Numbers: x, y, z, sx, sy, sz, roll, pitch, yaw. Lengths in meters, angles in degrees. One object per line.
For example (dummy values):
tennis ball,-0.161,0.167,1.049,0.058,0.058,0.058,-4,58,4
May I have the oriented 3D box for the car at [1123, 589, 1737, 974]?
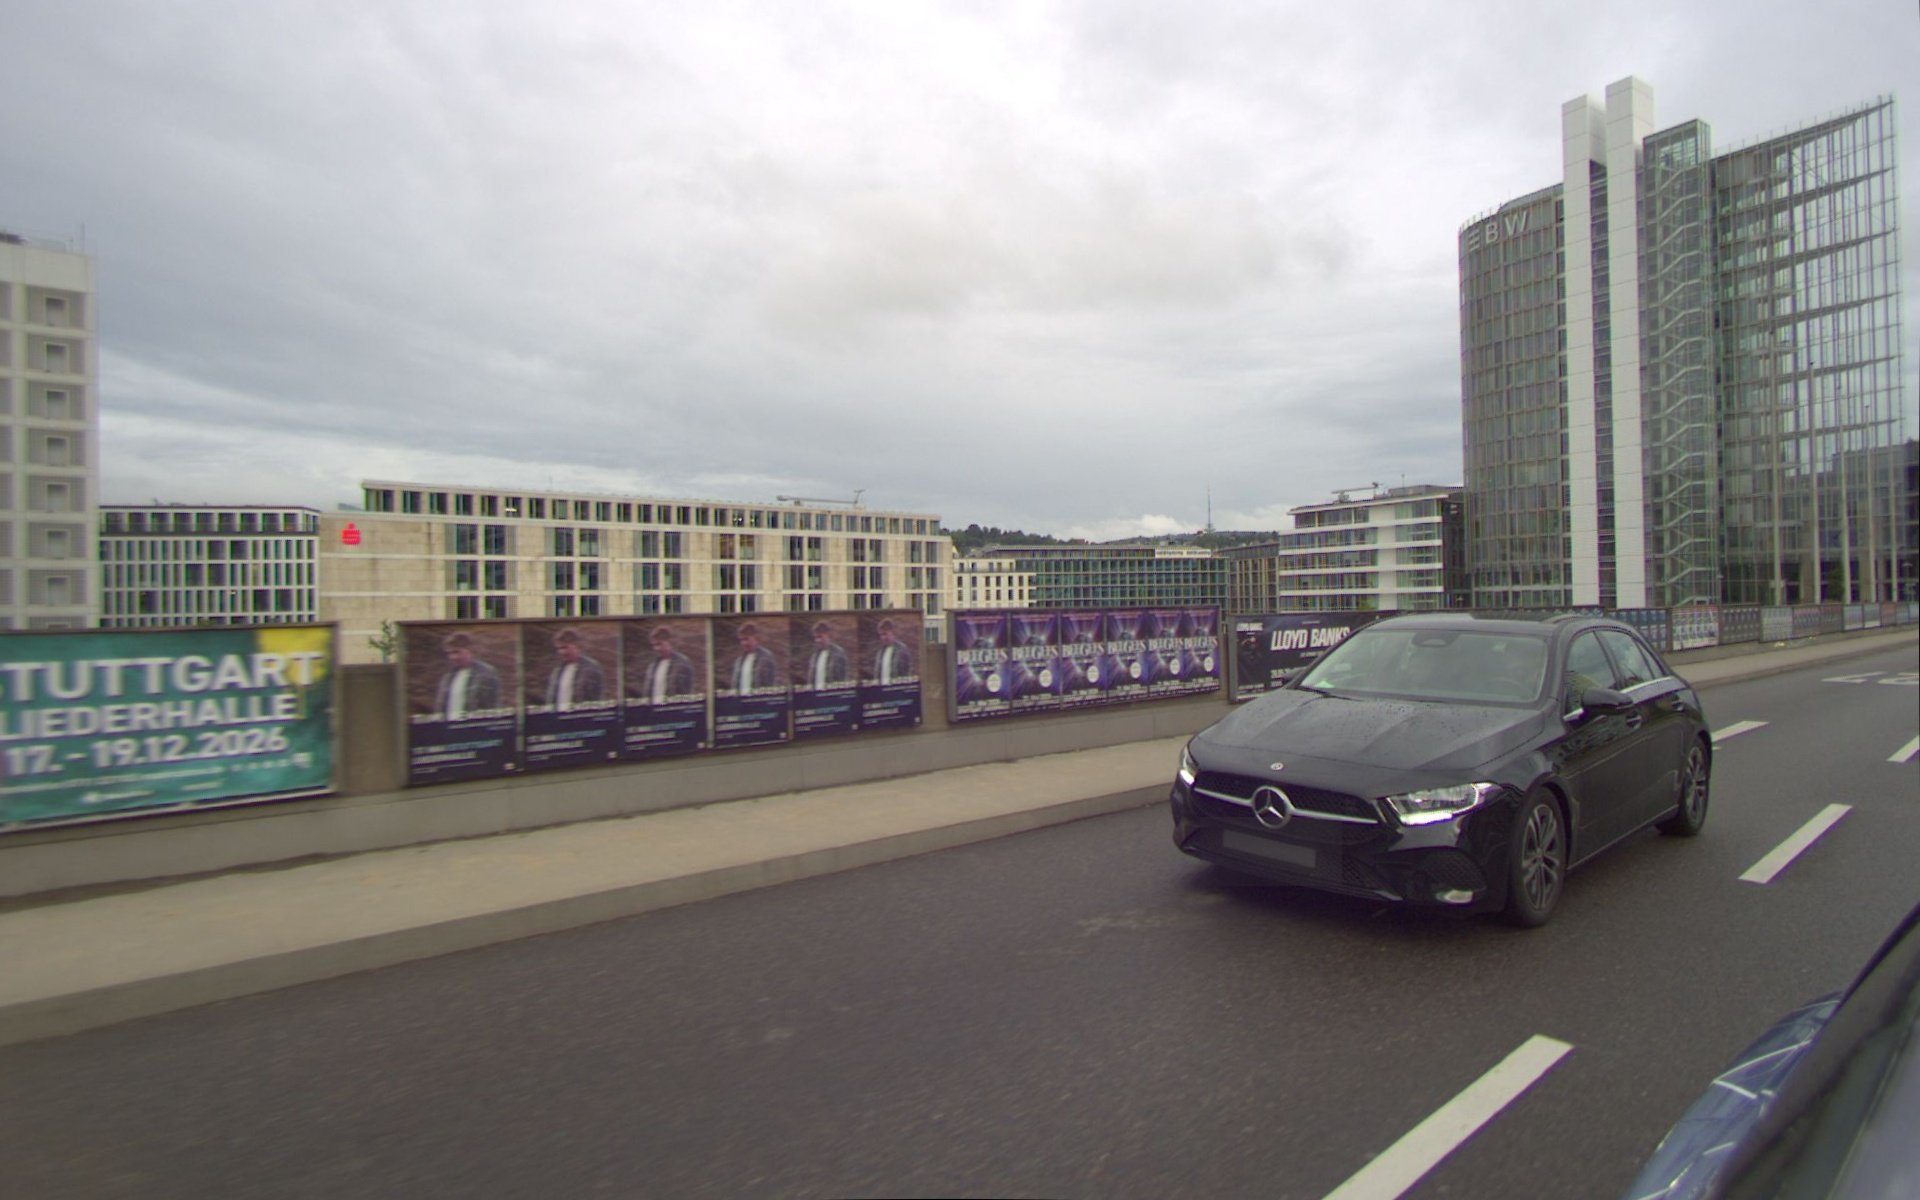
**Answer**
car,2.935,0.674,5.864,4.083,1.393,1.726,-2,1,-41
